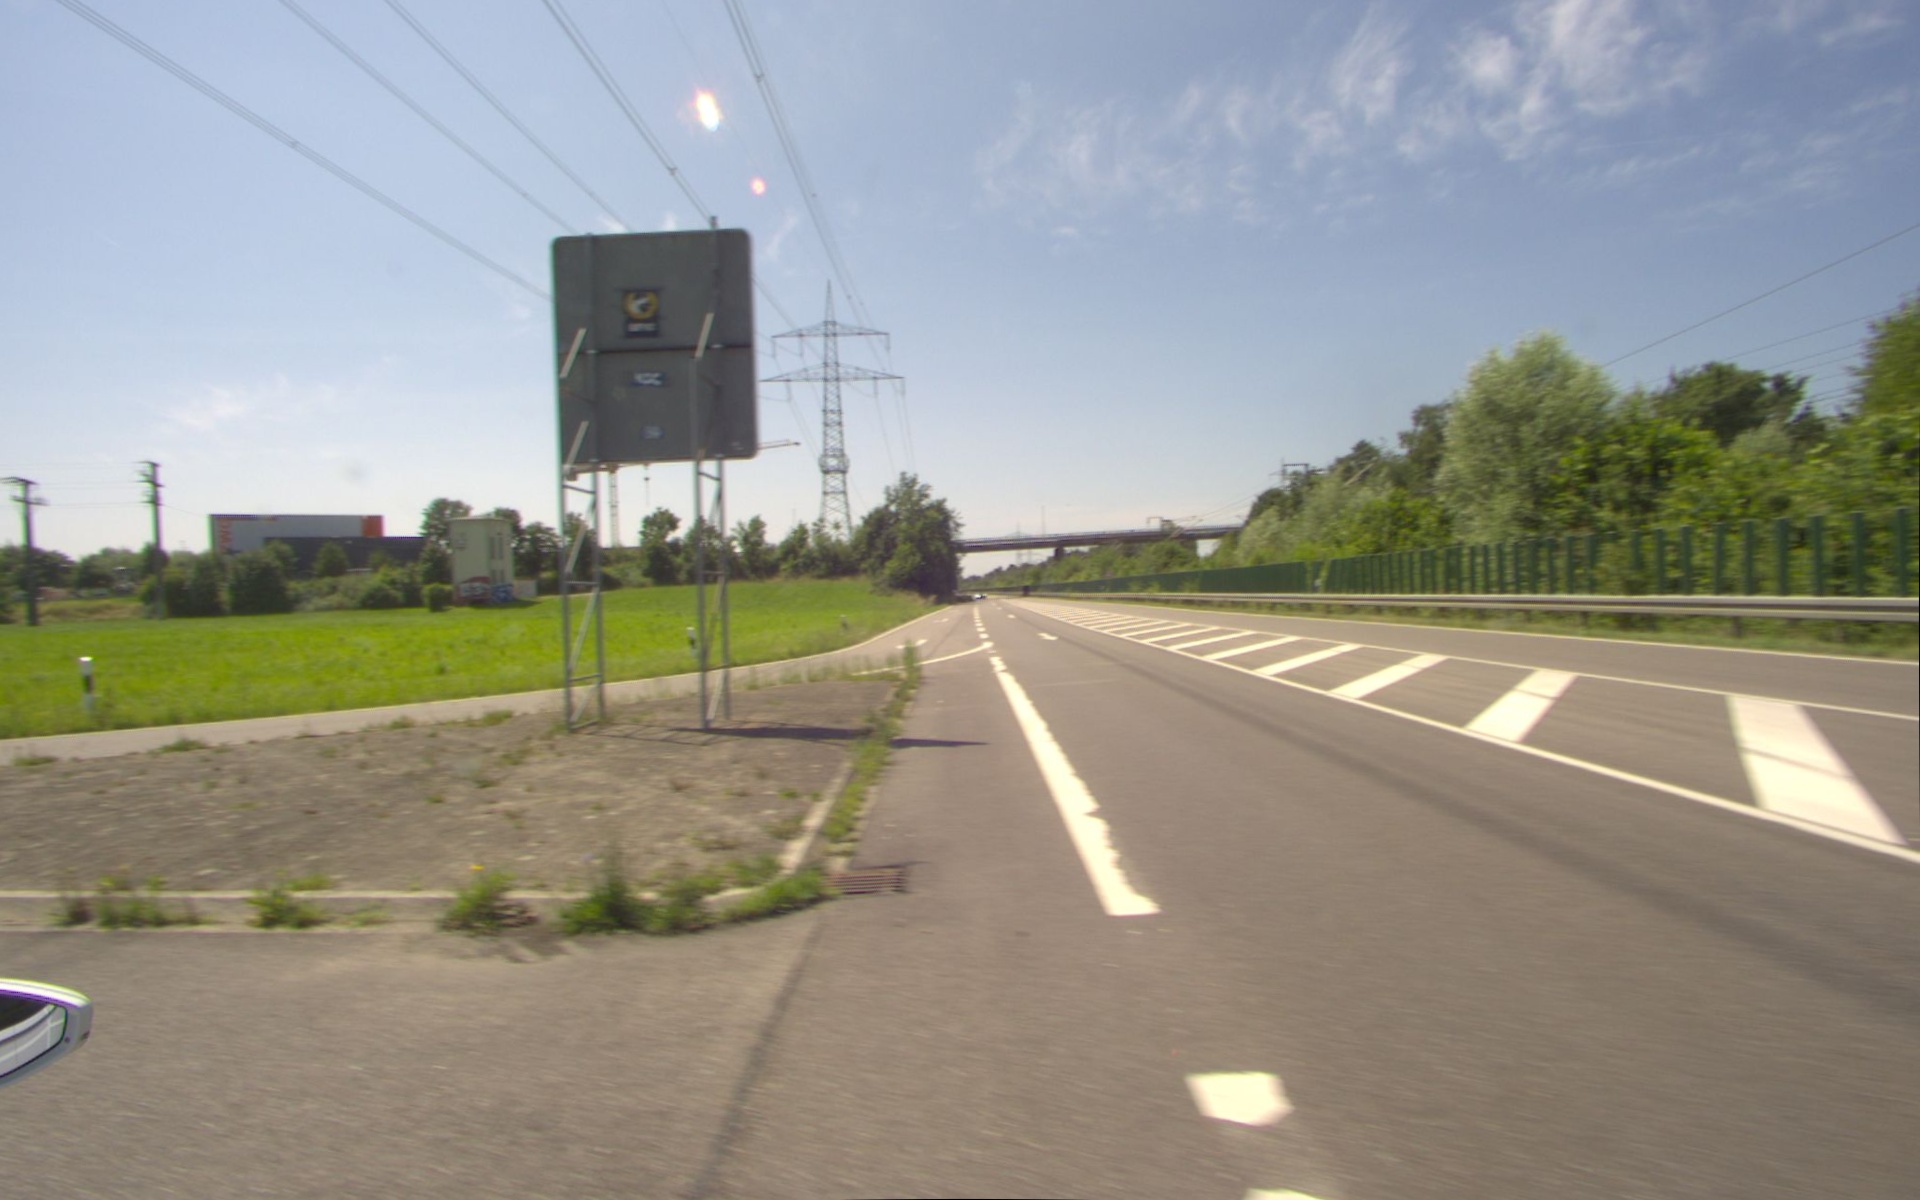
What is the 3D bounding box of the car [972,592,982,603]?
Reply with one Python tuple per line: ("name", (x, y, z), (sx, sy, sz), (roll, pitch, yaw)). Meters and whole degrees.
("car", (3.035, -0.439, 179.020), (1.691, 1.747, 3.998), (-1, 1, 2))
